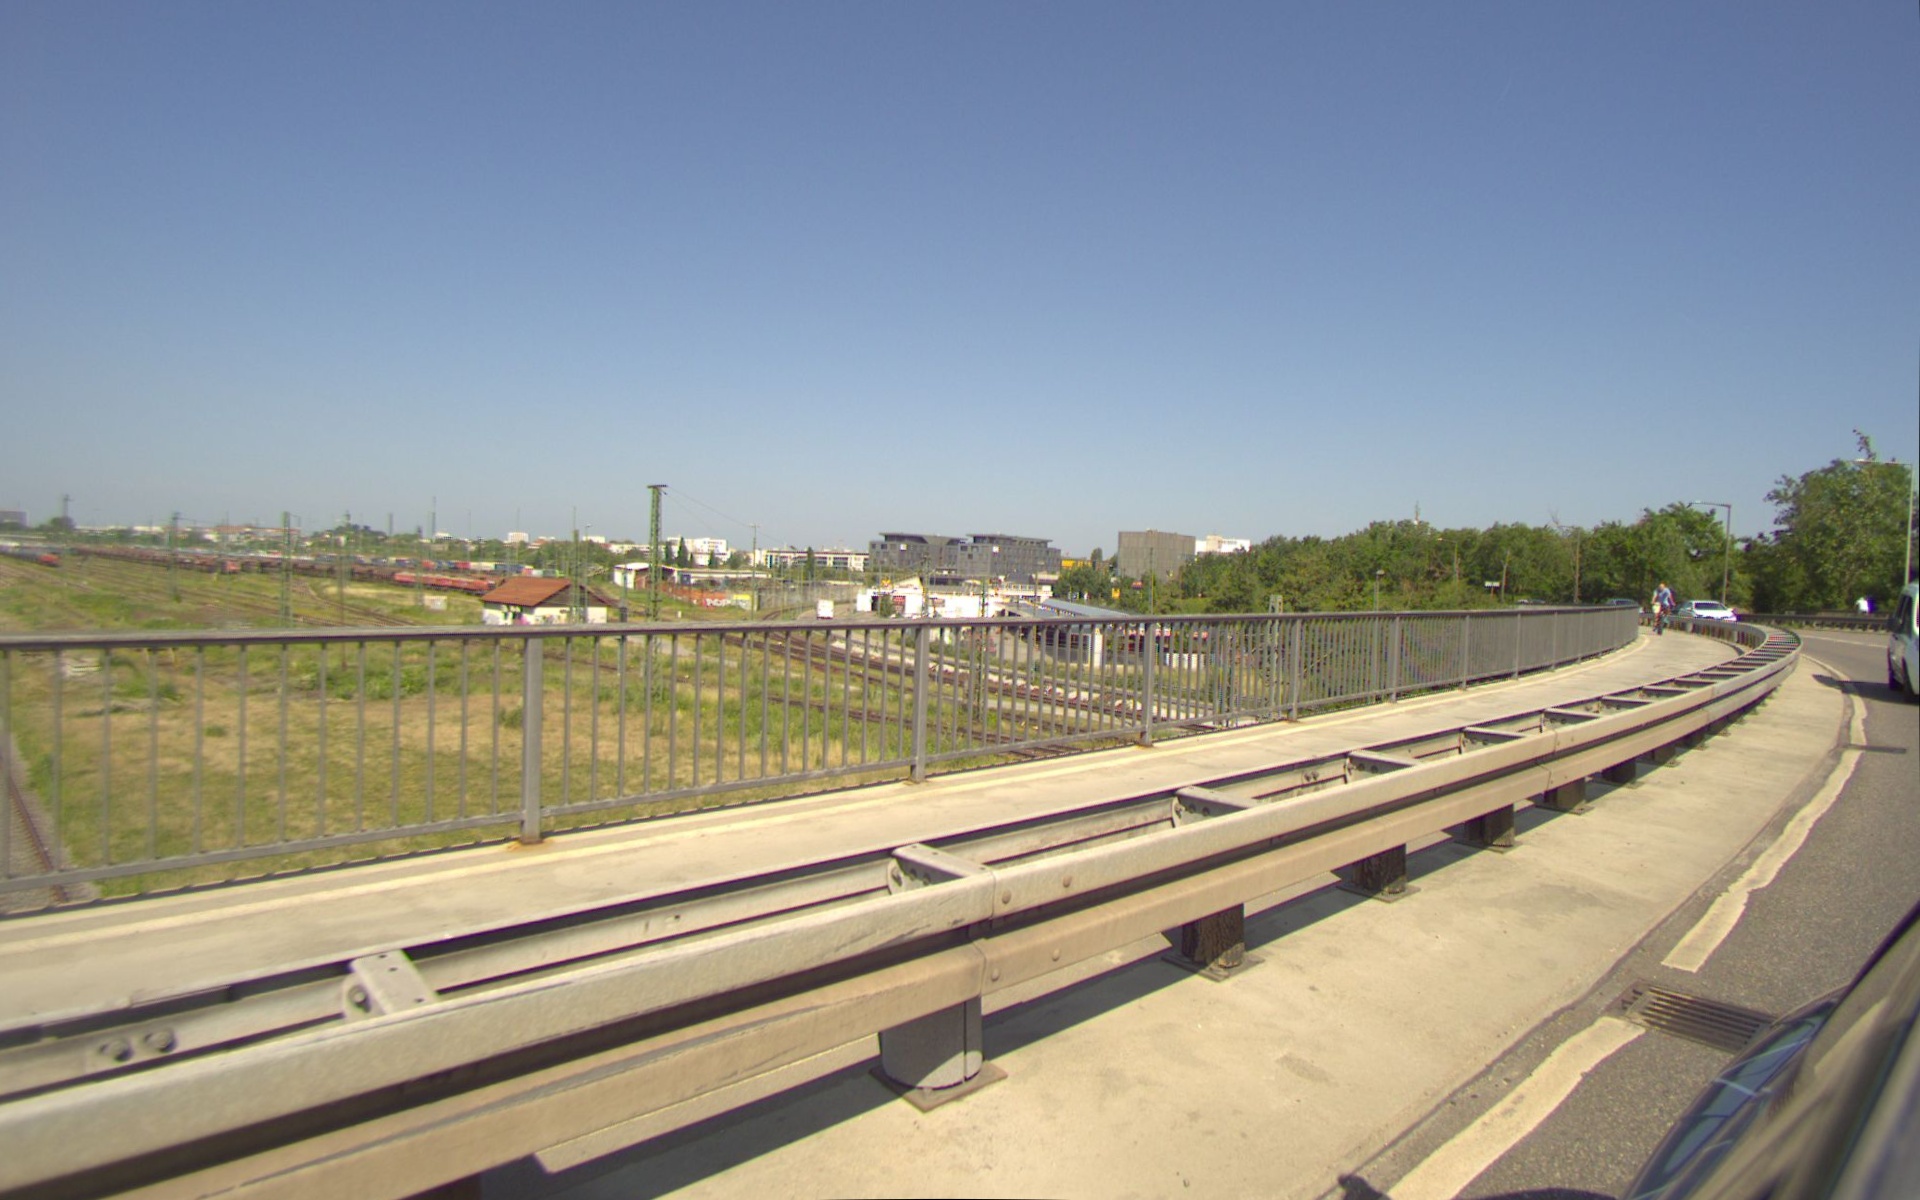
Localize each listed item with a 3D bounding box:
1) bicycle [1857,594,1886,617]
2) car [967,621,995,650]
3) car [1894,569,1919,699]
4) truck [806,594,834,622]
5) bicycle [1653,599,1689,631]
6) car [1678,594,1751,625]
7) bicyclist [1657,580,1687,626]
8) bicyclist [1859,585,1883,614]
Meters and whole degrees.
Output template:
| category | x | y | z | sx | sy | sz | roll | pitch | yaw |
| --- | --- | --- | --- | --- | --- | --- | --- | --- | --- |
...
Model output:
| category | x | y | z | sx | sy | sz | roll | pitch | yaw |
| --- | --- | --- | --- | --- | --- | --- | --- | --- | --- |
| bicycle | 47.509 | 0.298 | 52.764 | 0.609 | 1.149 | 2.126 | 4 | 2 | 30 |
| car | 2.333 | 3.909 | 113.933 | 2.262 | 2.695 | 5.387 | -4 | 3 | -6 |
| car | 15.536 | 0.476 | 15.241 | 1.890 | 1.818 | 4.383 | 0 | 0 | 40 |
| truck | -24.105 | 1.286 | 173.432 | 3.743 | 4.079 | 13.297 | 3 | 1 | -11 |
| bicycle | 24.695 | 0.526 | 35.169 | 0.698 | 1.032 | 1.828 | 5 | 2 | 27 |
| car | 38.108 | 0.455 | 51.199 | 1.824 | 1.507 | 4.124 | 0 | 0 | 20 |
| bicyclist | 24.710 | 0.082 | 35.128 | 0.654 | 1.538 | 0.796 | 4 | 2 | 26 |
| bicyclist | 47.590 | -0.032 | 52.876 | 0.605 | 1.456 | 1.067 | 3 | 2 | 30 |
